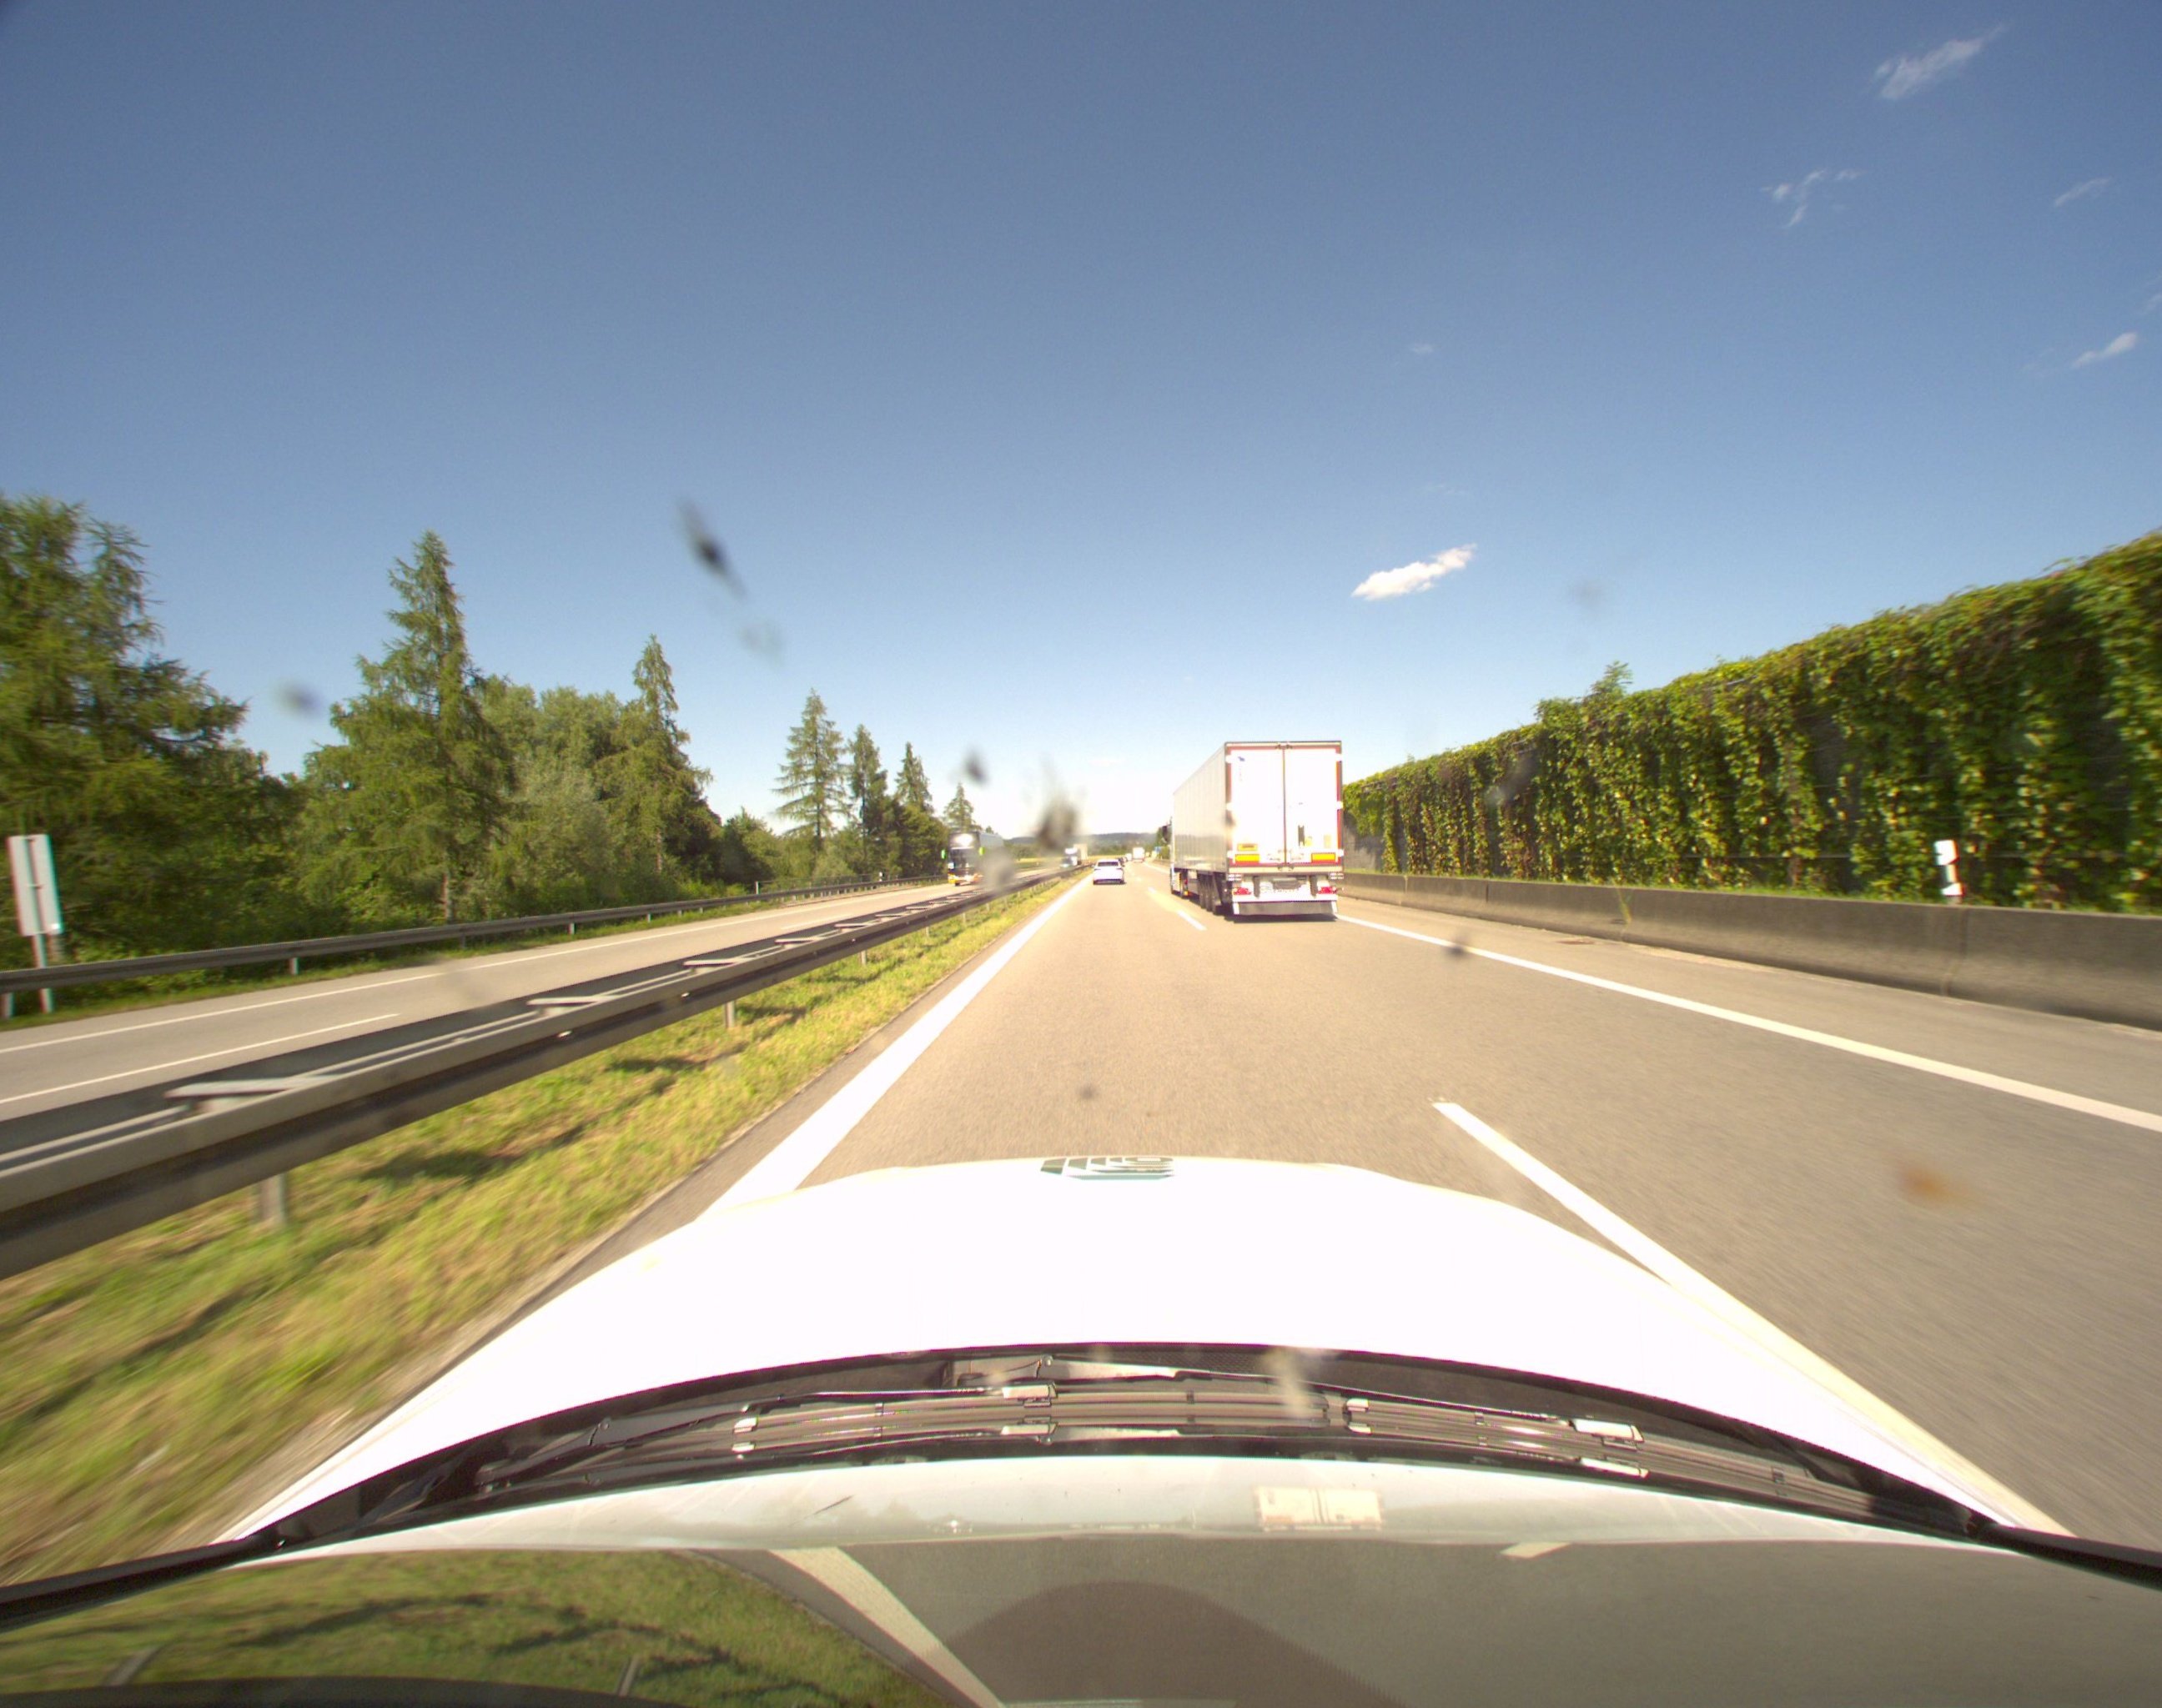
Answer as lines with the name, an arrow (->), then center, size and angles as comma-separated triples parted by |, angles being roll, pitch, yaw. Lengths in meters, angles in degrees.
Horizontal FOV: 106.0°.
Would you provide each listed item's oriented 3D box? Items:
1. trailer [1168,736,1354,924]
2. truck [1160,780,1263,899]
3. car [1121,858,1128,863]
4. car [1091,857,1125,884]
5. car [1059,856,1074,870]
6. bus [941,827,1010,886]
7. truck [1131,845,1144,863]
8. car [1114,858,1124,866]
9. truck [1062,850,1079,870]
trailer -> 4.704, -0.516, 24.945 | 2.808, 3.966, 14.166 | -3, 0, 2
truck -> 4.880, -0.509, 31.802 | 2.830, 3.966, 7.046 | -3, 0, 1
car -> 12.254, 1.881, 226.968 | 1.763, 1.421, 4.371 | -1, 0, 5
car -> 1.557, 0.921, 47.251 | 1.833, 1.421, 5.256 | -1, 0, 1
car -> -2.082, 1.299, 116.517 | 1.747, 1.849, 5.014 | -4, 0, 2
bus -> -8.262, 0.175, 66.017 | 2.925, 4.054, 14.674 | -4, 0, 2
truck -> 15.298, -0.048, 220.202 | 3.139, 4.612, 8.912 | -3, 0, 3
car -> 7.451, 1.601, 158.906 | 1.762, 1.421, 4.503 | -1, 0, 6
truck -> -2.315, 1.323, 182.858 | 3.143, 4.101, 7.741 | -4, 0, 3
